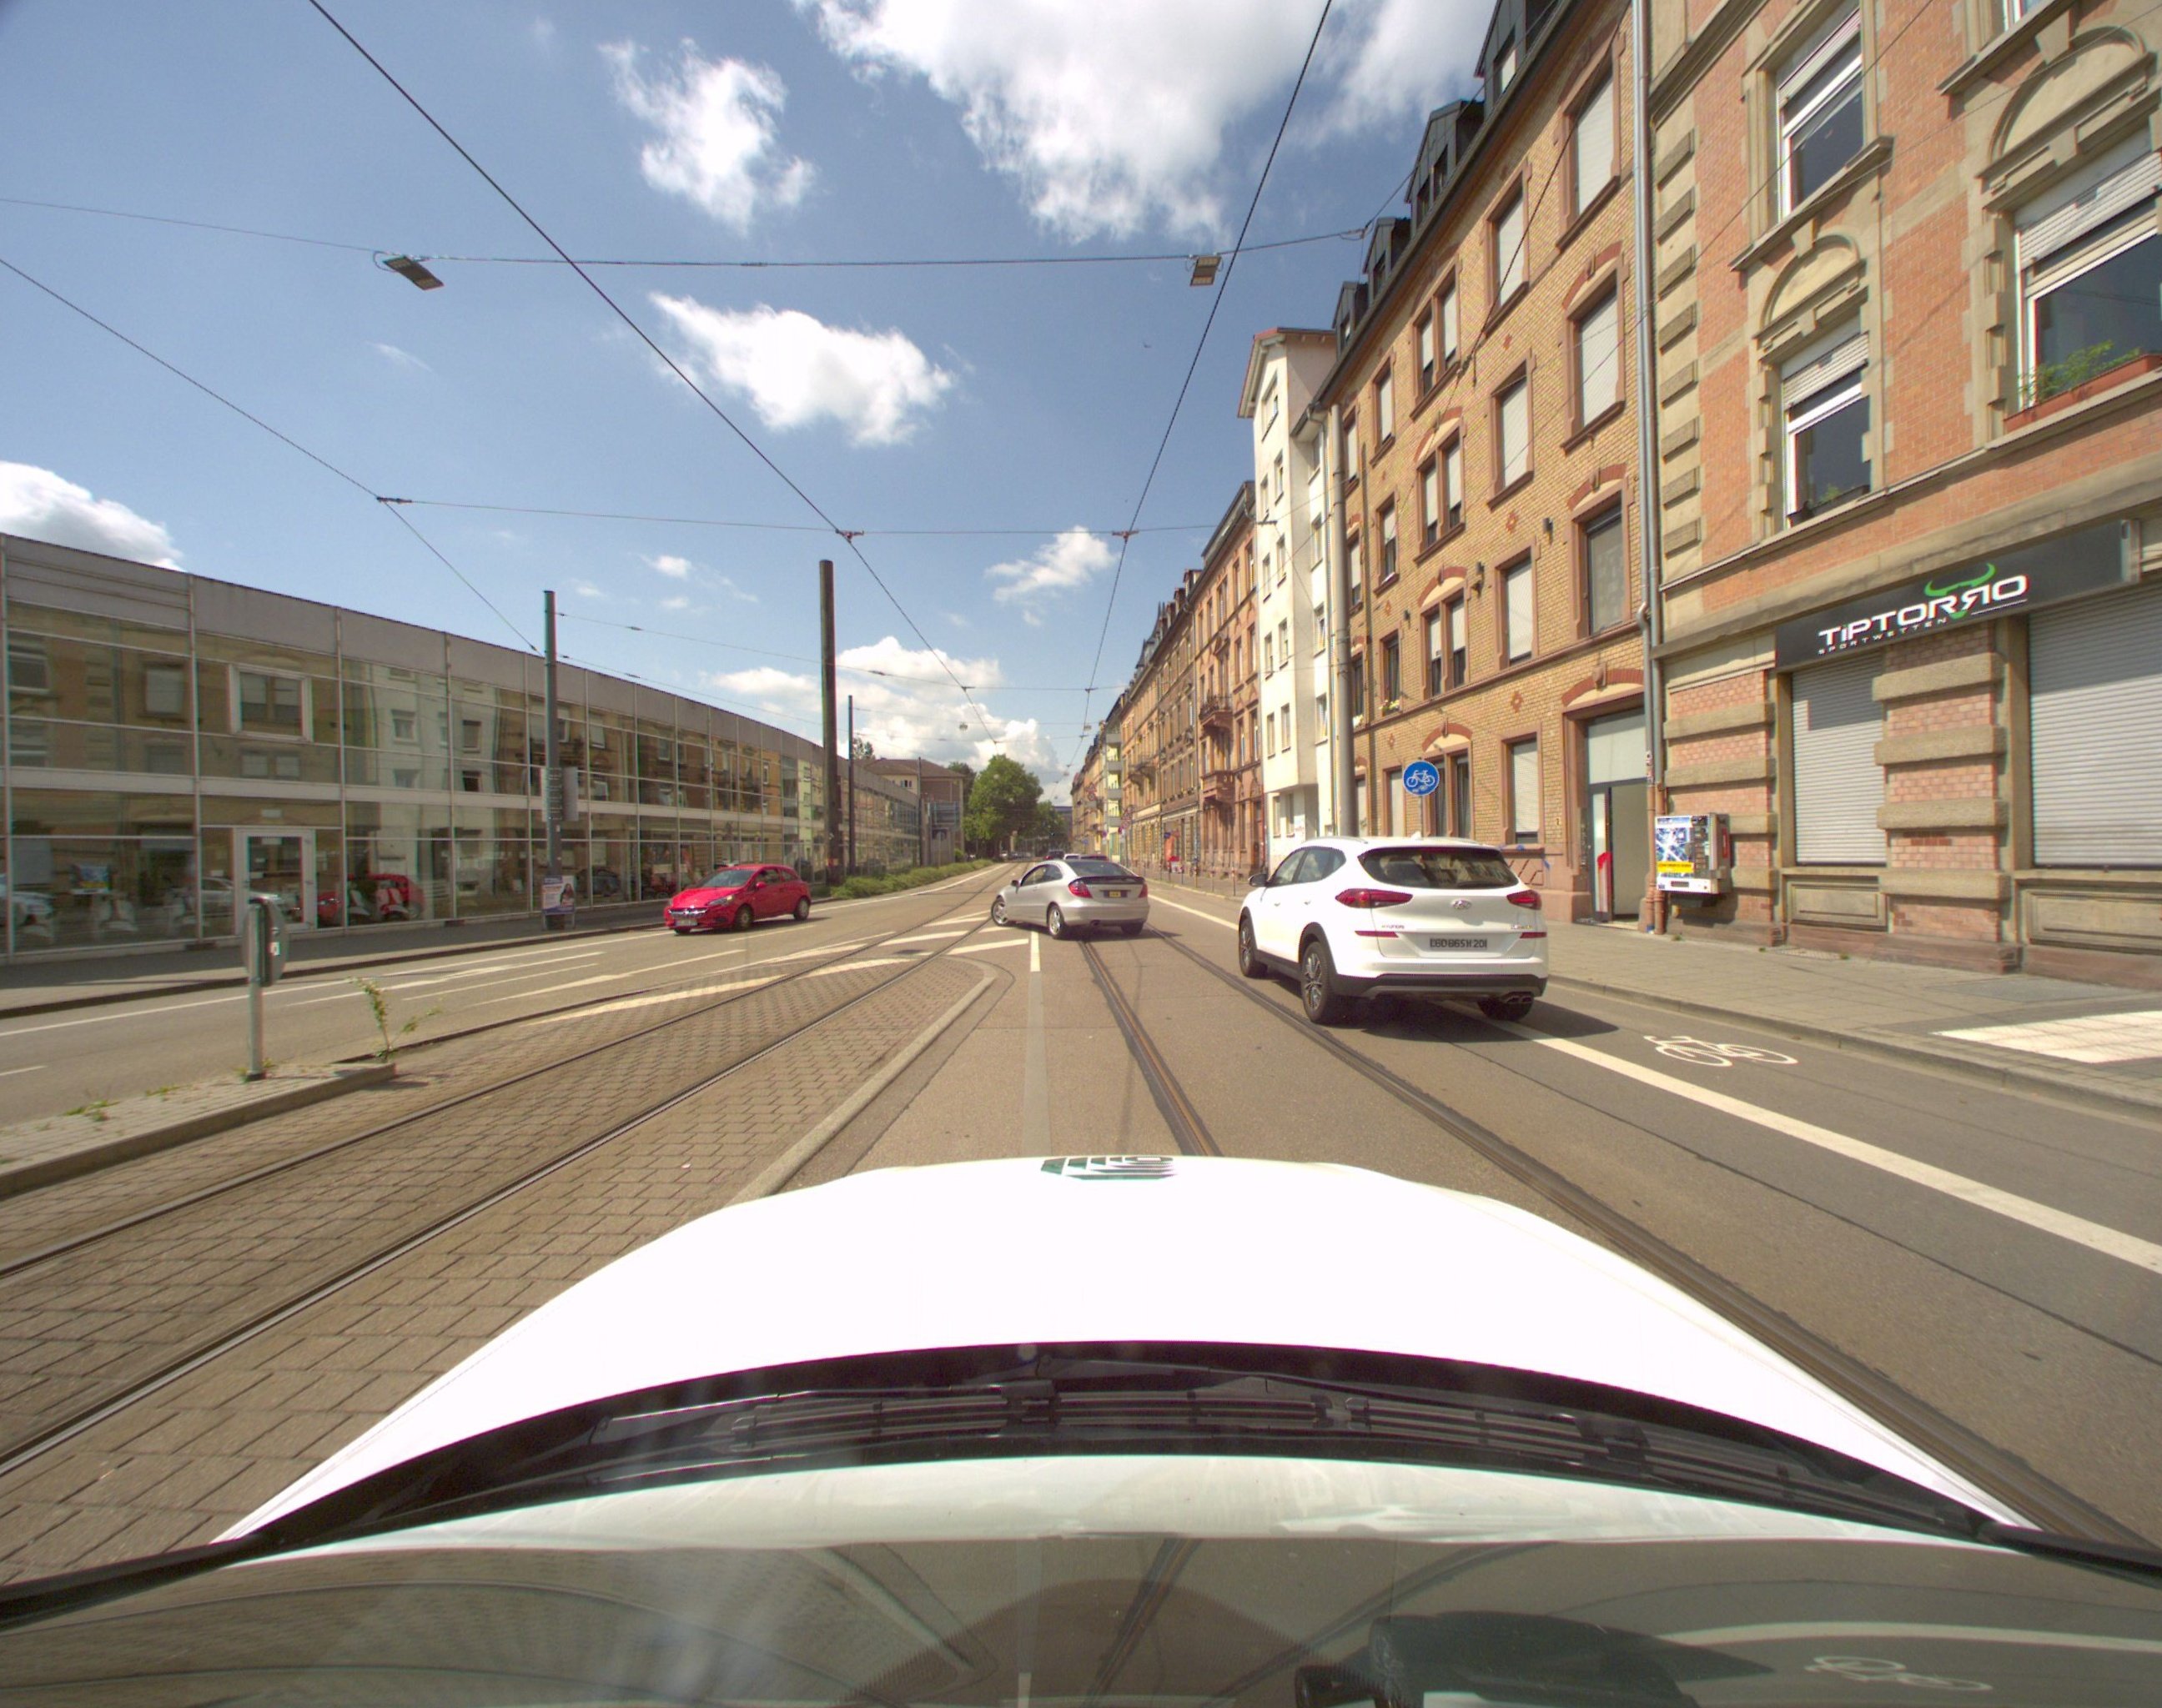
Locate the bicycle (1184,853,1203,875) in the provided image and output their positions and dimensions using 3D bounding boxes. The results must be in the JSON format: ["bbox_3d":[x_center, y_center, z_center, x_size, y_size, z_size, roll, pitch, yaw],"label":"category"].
[{"bbox_3d":[6.100,0.524,44.256,0.585,1.178,2.203,-2,0,-2],"label":"bicycle"}]

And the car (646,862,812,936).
[{"bbox_3d":[-8.060,0.967,19.073,1.692,1.428,3.911,-2,0,8],"label":"car"}]

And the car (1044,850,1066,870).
[{"bbox_3d":[-2.287,0.484,70.924,1.811,1.661,4.080,-1,0,-3],"label":"car"}]

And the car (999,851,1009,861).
[{"bbox_3d":[-15.826,0.404,167.656,1.946,1.895,4.559,-1,0,-3],"label":"car"}]

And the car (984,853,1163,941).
[{"bbox_3d":[-0.300,0.731,15.838,1.824,1.420,4.151,-2,0,-27],"label":"car"}]

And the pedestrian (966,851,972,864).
[{"bbox_3d":[-17.705,0.551,128.740,0.878,1.865,1.080,-2,0,-3],"label":"pedestrian"}]

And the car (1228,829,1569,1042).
[{"bbox_3d":[2.842,0.656,8.407,1.846,1.634,4.179,0,-1,-1],"label":"car"}]

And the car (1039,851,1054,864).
[{"bbox_3d":[-5.176,0.505,121.055,1.990,1.859,3.993,-2,0,-5],"label":"car"}]

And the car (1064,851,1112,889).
[{"bbox_3d":[0.261,0.666,36.245,1.811,1.524,4.080,-2,0,-3],"label":"car"}]

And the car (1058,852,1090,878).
[{"bbox_3d":[-0.473,0.651,51.702,1.811,1.524,3.951,-2,0,-3],"label":"car"}]
